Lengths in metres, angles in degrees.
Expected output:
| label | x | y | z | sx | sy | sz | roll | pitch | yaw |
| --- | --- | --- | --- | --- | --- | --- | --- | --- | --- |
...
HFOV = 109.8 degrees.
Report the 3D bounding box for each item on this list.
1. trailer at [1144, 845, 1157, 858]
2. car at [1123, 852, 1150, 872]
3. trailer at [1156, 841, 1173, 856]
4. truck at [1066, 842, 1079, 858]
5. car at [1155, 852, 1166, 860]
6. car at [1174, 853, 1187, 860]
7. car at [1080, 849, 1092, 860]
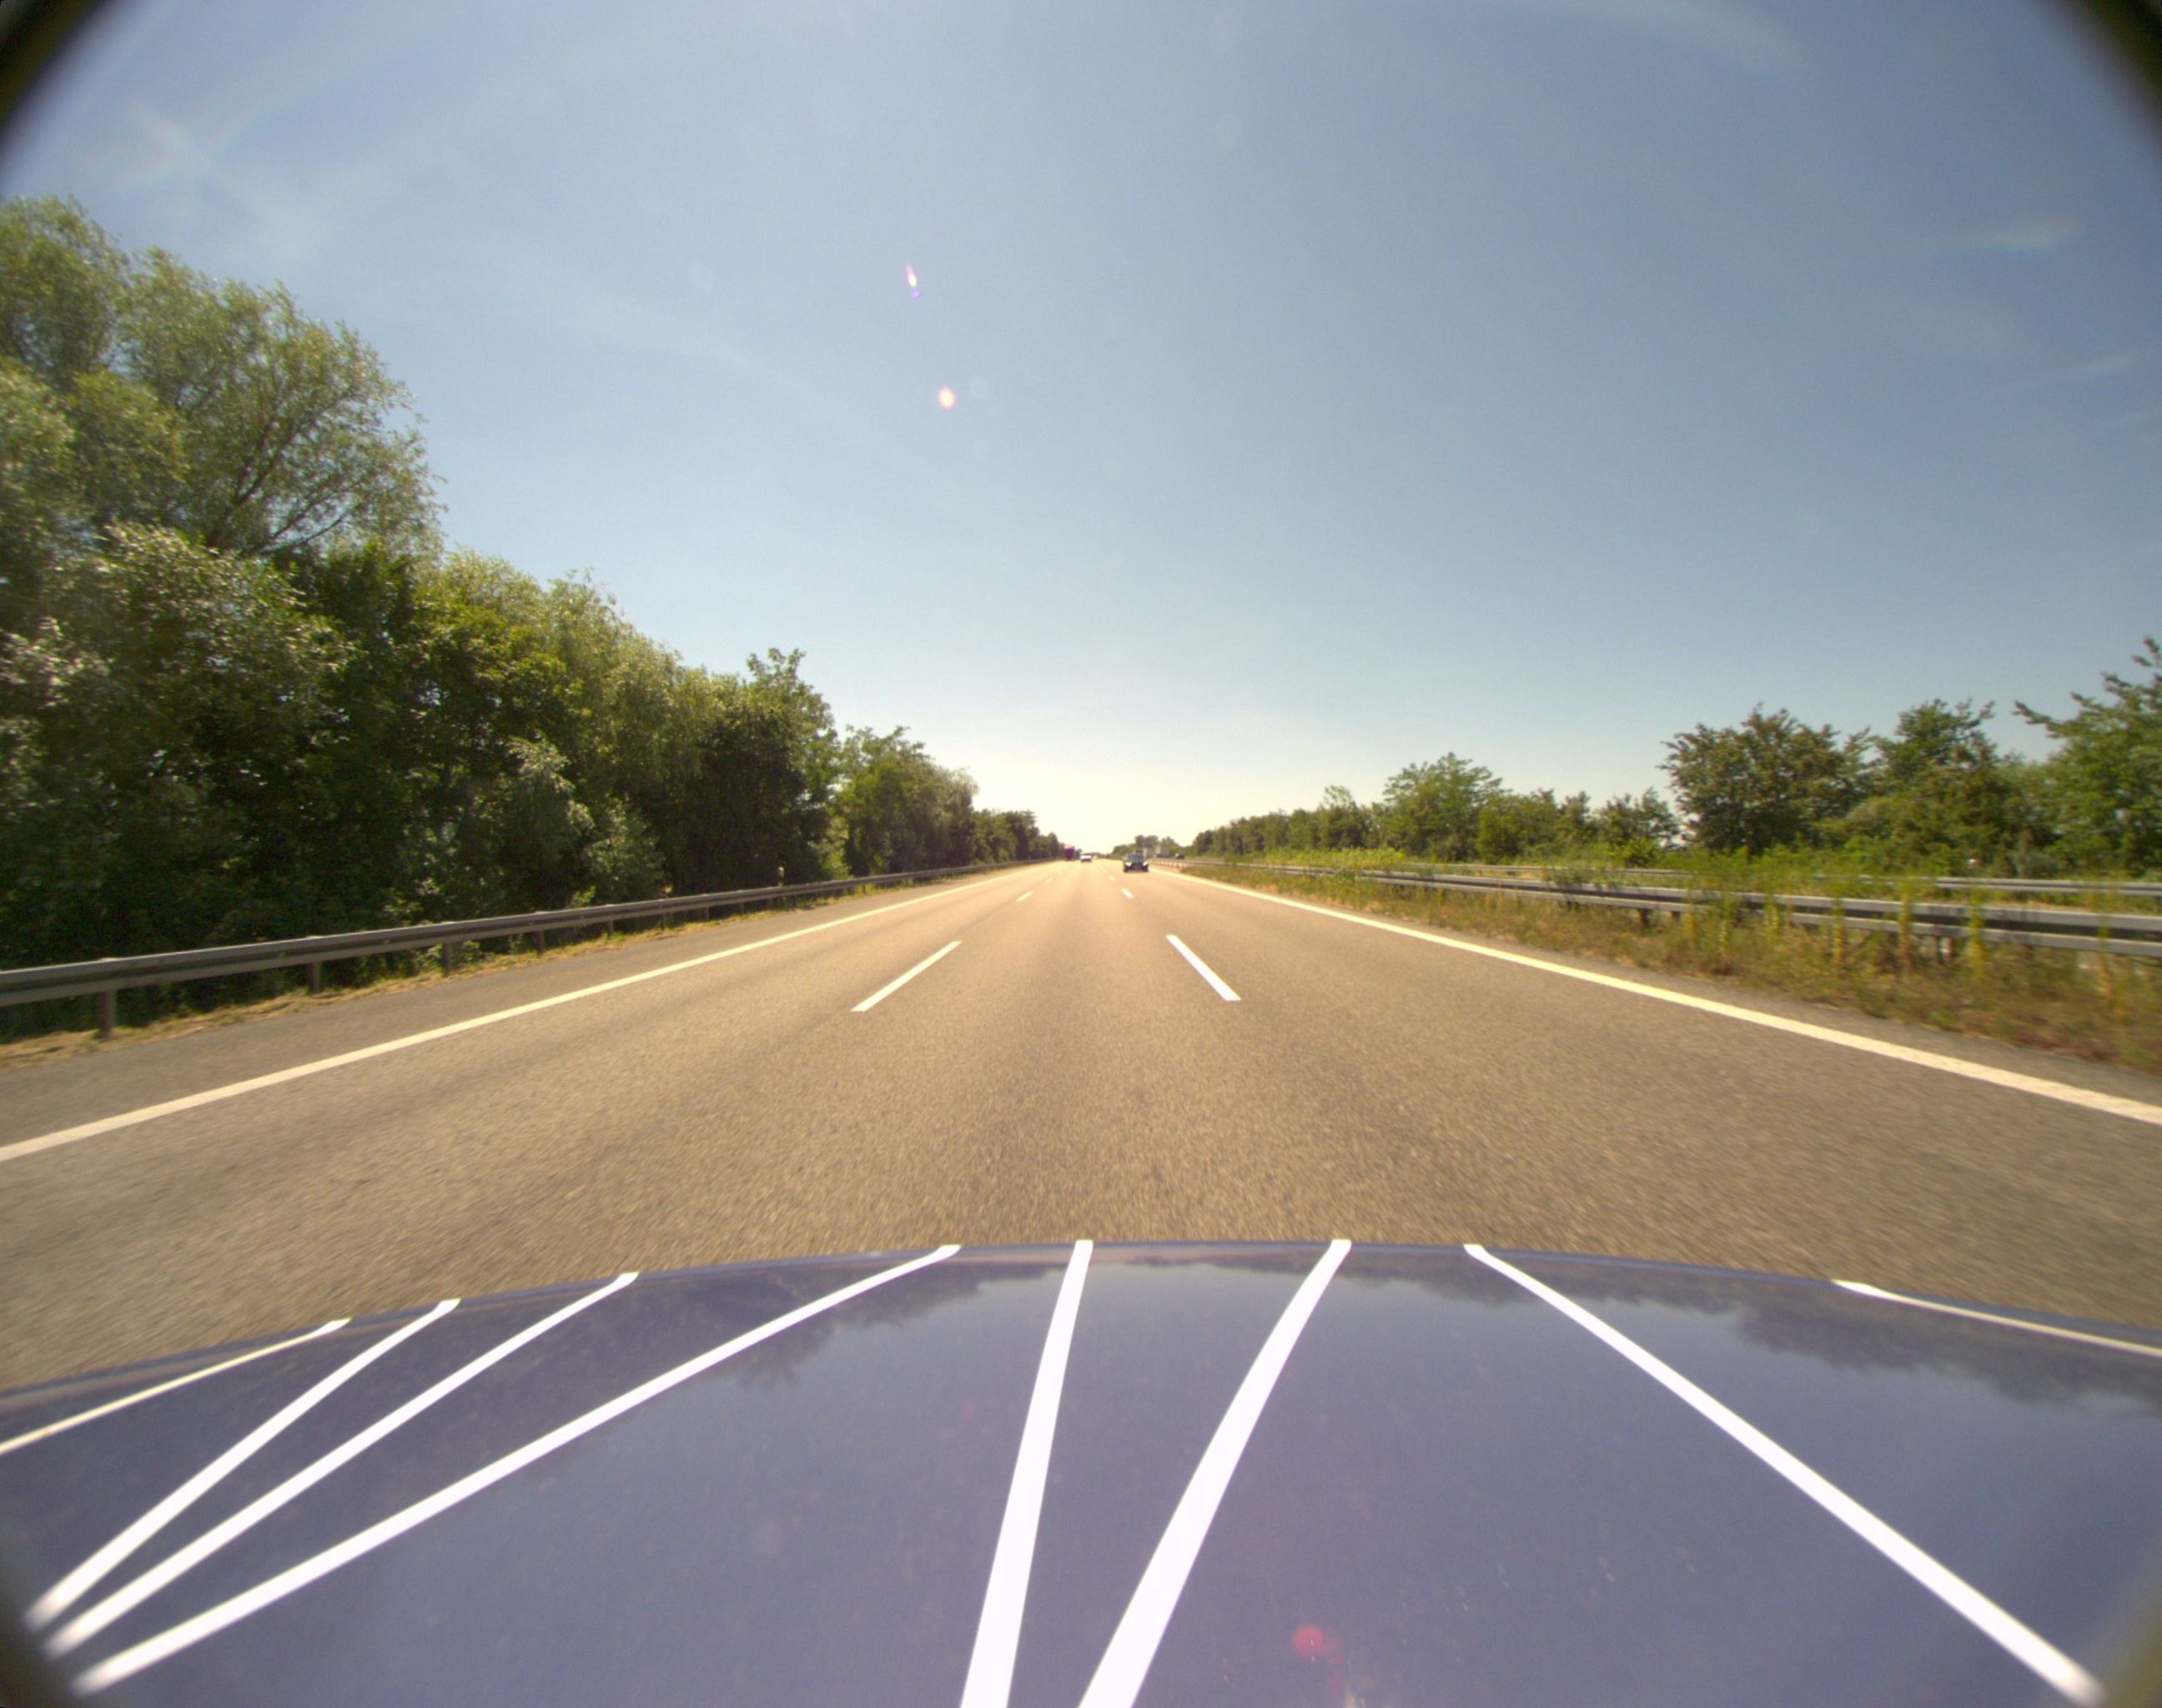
| label | x | y | z | sx | sy | sz | roll | pitch | yaw |
| --- | --- | --- | --- | --- | --- | --- | --- | --- | --- |
| trailer | 24.227 | -0.844 | 265.647 | 3.357 | 4.161 | 13.542 | 0 | 0 | 0 |
| car | 4.227 | 0.587 | 58.293 | 1.736 | 1.433 | 4.000 | -2 | 0 | 1 |
| trailer | 23.343 | -1.498 | 213.685 | 3.305 | 4.161 | 13.542 | 0 | 0 | 0 |
| truck | -2.191 | -1.039 | 196.840 | 2.938 | 3.933 | 10.261 | -2 | 0 | 1 |
| car | 14.599 | 0.298 | 140.026 | 1.557 | 1.454 | 4.046 | 0 | 0 | 0 |
| car | 18.984 | 0.496 | 145.503 | 1.867 | 1.393 | 4.531 | 0 | 0 | 0 |
| car | 0.971 | 0.140 | 139.574 | 1.998 | 2.002 | 4.756 | -2 | 0 | 1 |
